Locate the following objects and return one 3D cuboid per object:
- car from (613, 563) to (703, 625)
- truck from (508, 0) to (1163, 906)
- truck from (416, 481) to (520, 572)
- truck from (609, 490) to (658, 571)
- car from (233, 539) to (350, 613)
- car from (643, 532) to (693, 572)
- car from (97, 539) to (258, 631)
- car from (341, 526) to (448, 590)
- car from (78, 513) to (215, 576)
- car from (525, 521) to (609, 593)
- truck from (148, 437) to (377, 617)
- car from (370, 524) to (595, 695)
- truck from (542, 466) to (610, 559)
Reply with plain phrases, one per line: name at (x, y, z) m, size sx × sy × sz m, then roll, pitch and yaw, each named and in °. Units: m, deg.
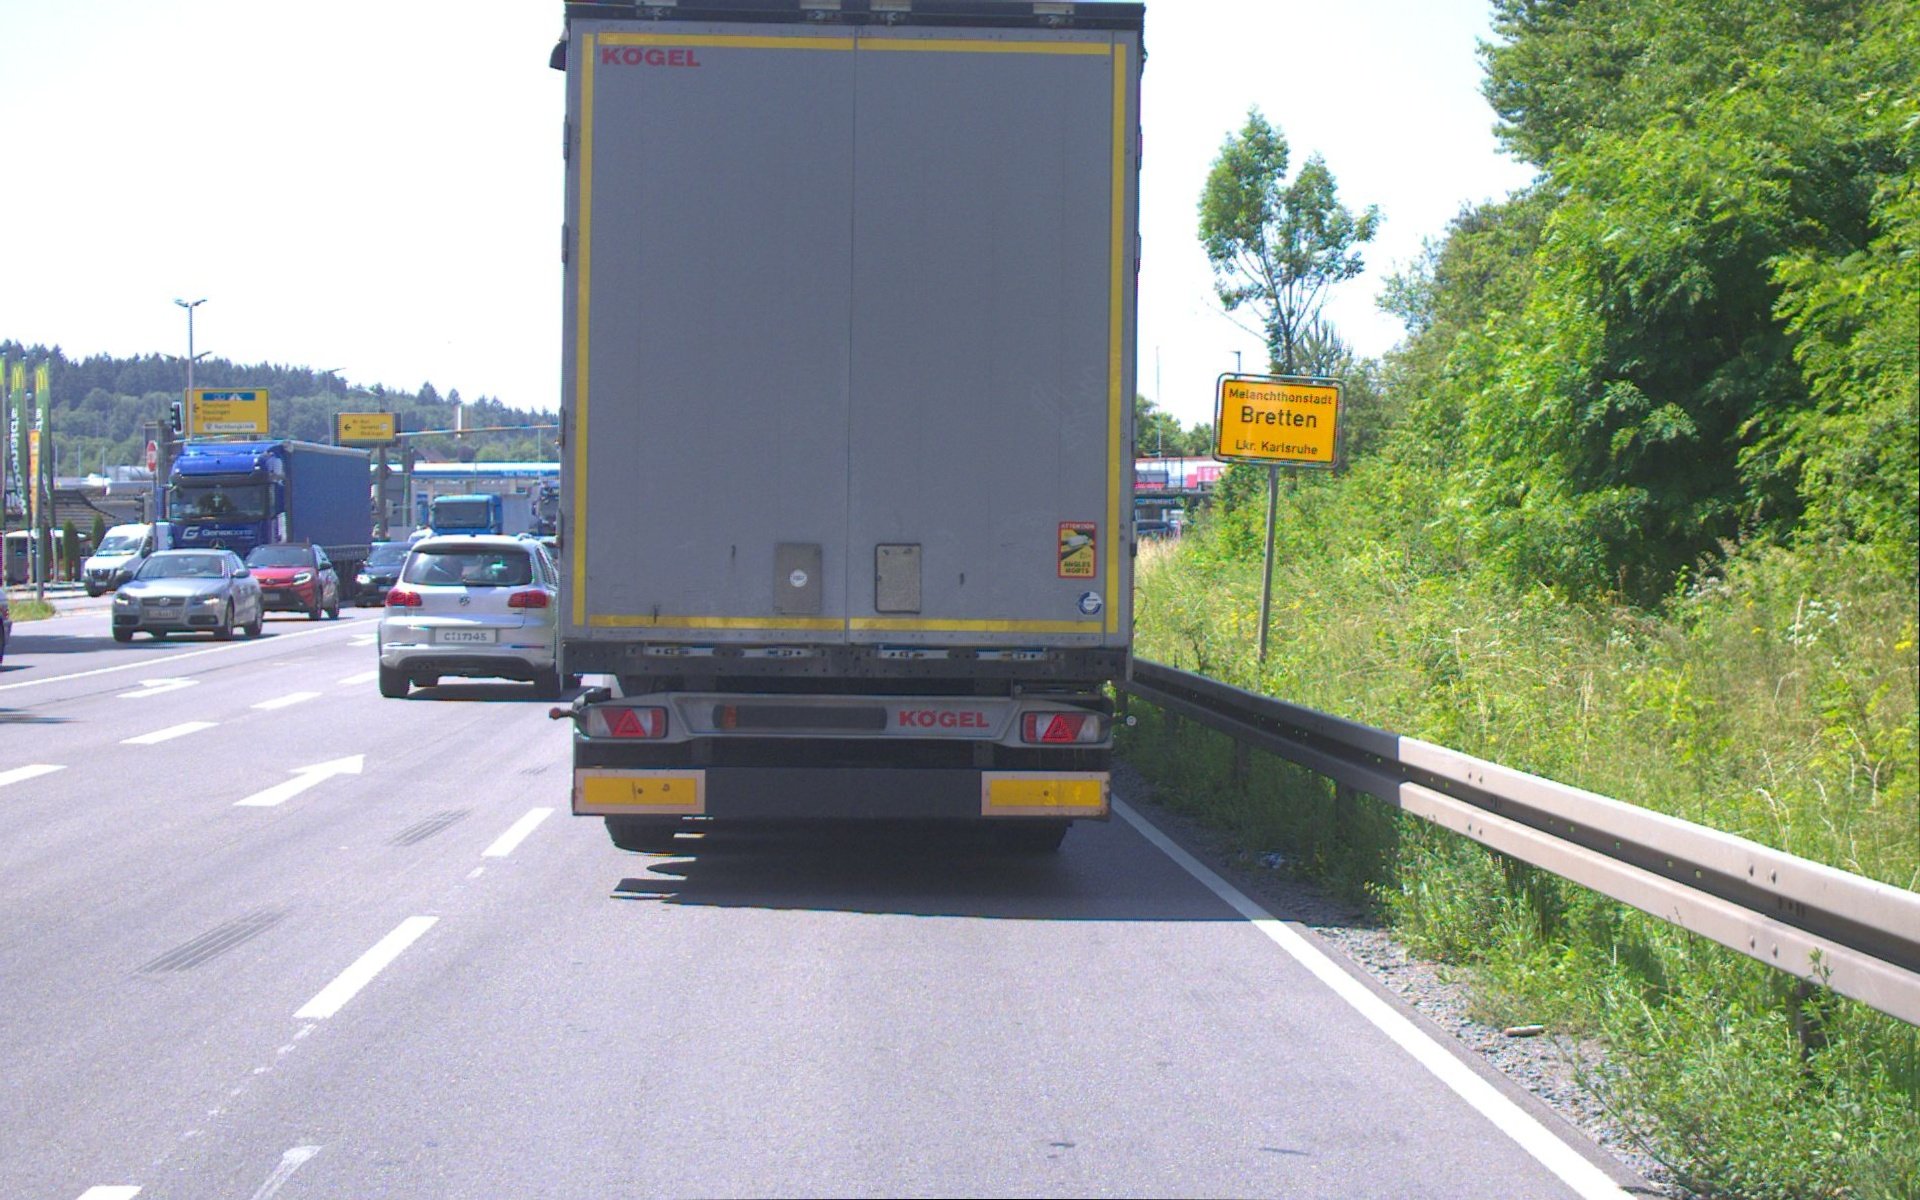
car at (-6.903, -0.151, 78.908) m, size 1.686 × 1.393 × 4.403 m, roll 0°, pitch 0°, yaw 0°
truck at (-0.642, -1.028, 23.190) m, size 2.755 × 4.623 × 16.656 m, roll 1°, pitch 0°, yaw -1°
truck at (-18.723, -2.760, 131.456) m, size 2.846 × 3.340 × 11.483 m, roll 0°, pitch 1°, yaw -3°
truck at (-19.543, -4.057, 205.336) m, size 2.538 × 4.611 × 10.835 m, roll 1°, pitch 0°, yaw -7°
car at (-13.270, -0.502, 68.403) m, size 1.641 × 1.433 × 4.017 m, roll 0°, pitch 1°, yaw -1°
car at (-15.428, -2.522, 181.713) m, size 2.489 × 2.007 × 5.530 m, roll 1°, pitch 0°, yaw -4°
car at (-12.369, -0.236, 54.563) m, size 1.766 × 1.382 × 4.000 m, roll 1°, pitch 0°, yaw -2°
car at (-13.668, -1.015, 83.328) m, size 1.918 × 1.475 × 4.687 m, roll 1°, pitch 1°, yaw -2°
car at (-28.345, -1.934, 119.958) m, size 1.996 × 2.175 × 5.187 m, roll 0°, pitch 1°, yaw 23°
car at (-11.114, -1.226, 97.477) m, size 1.993 × 2.007 × 4.000 m, roll 0°, pitch 1°, yaw -1°
truck at (-17.595, -1.807, 88.092) m, size 2.968 × 4.162 × 16.576 m, roll 0°, pitch 1°, yaw -2°
car at (-4.975, 0.061, 36.333) m, size 1.804 × 1.664 × 4.292 m, roll 1°, pitch 1°, yaw -1°
truck at (-18.996, -4.221, 169.977) m, size 3.145 × 4.334 × 17.546 m, roll 0°, pitch 1°, yaw -7°
